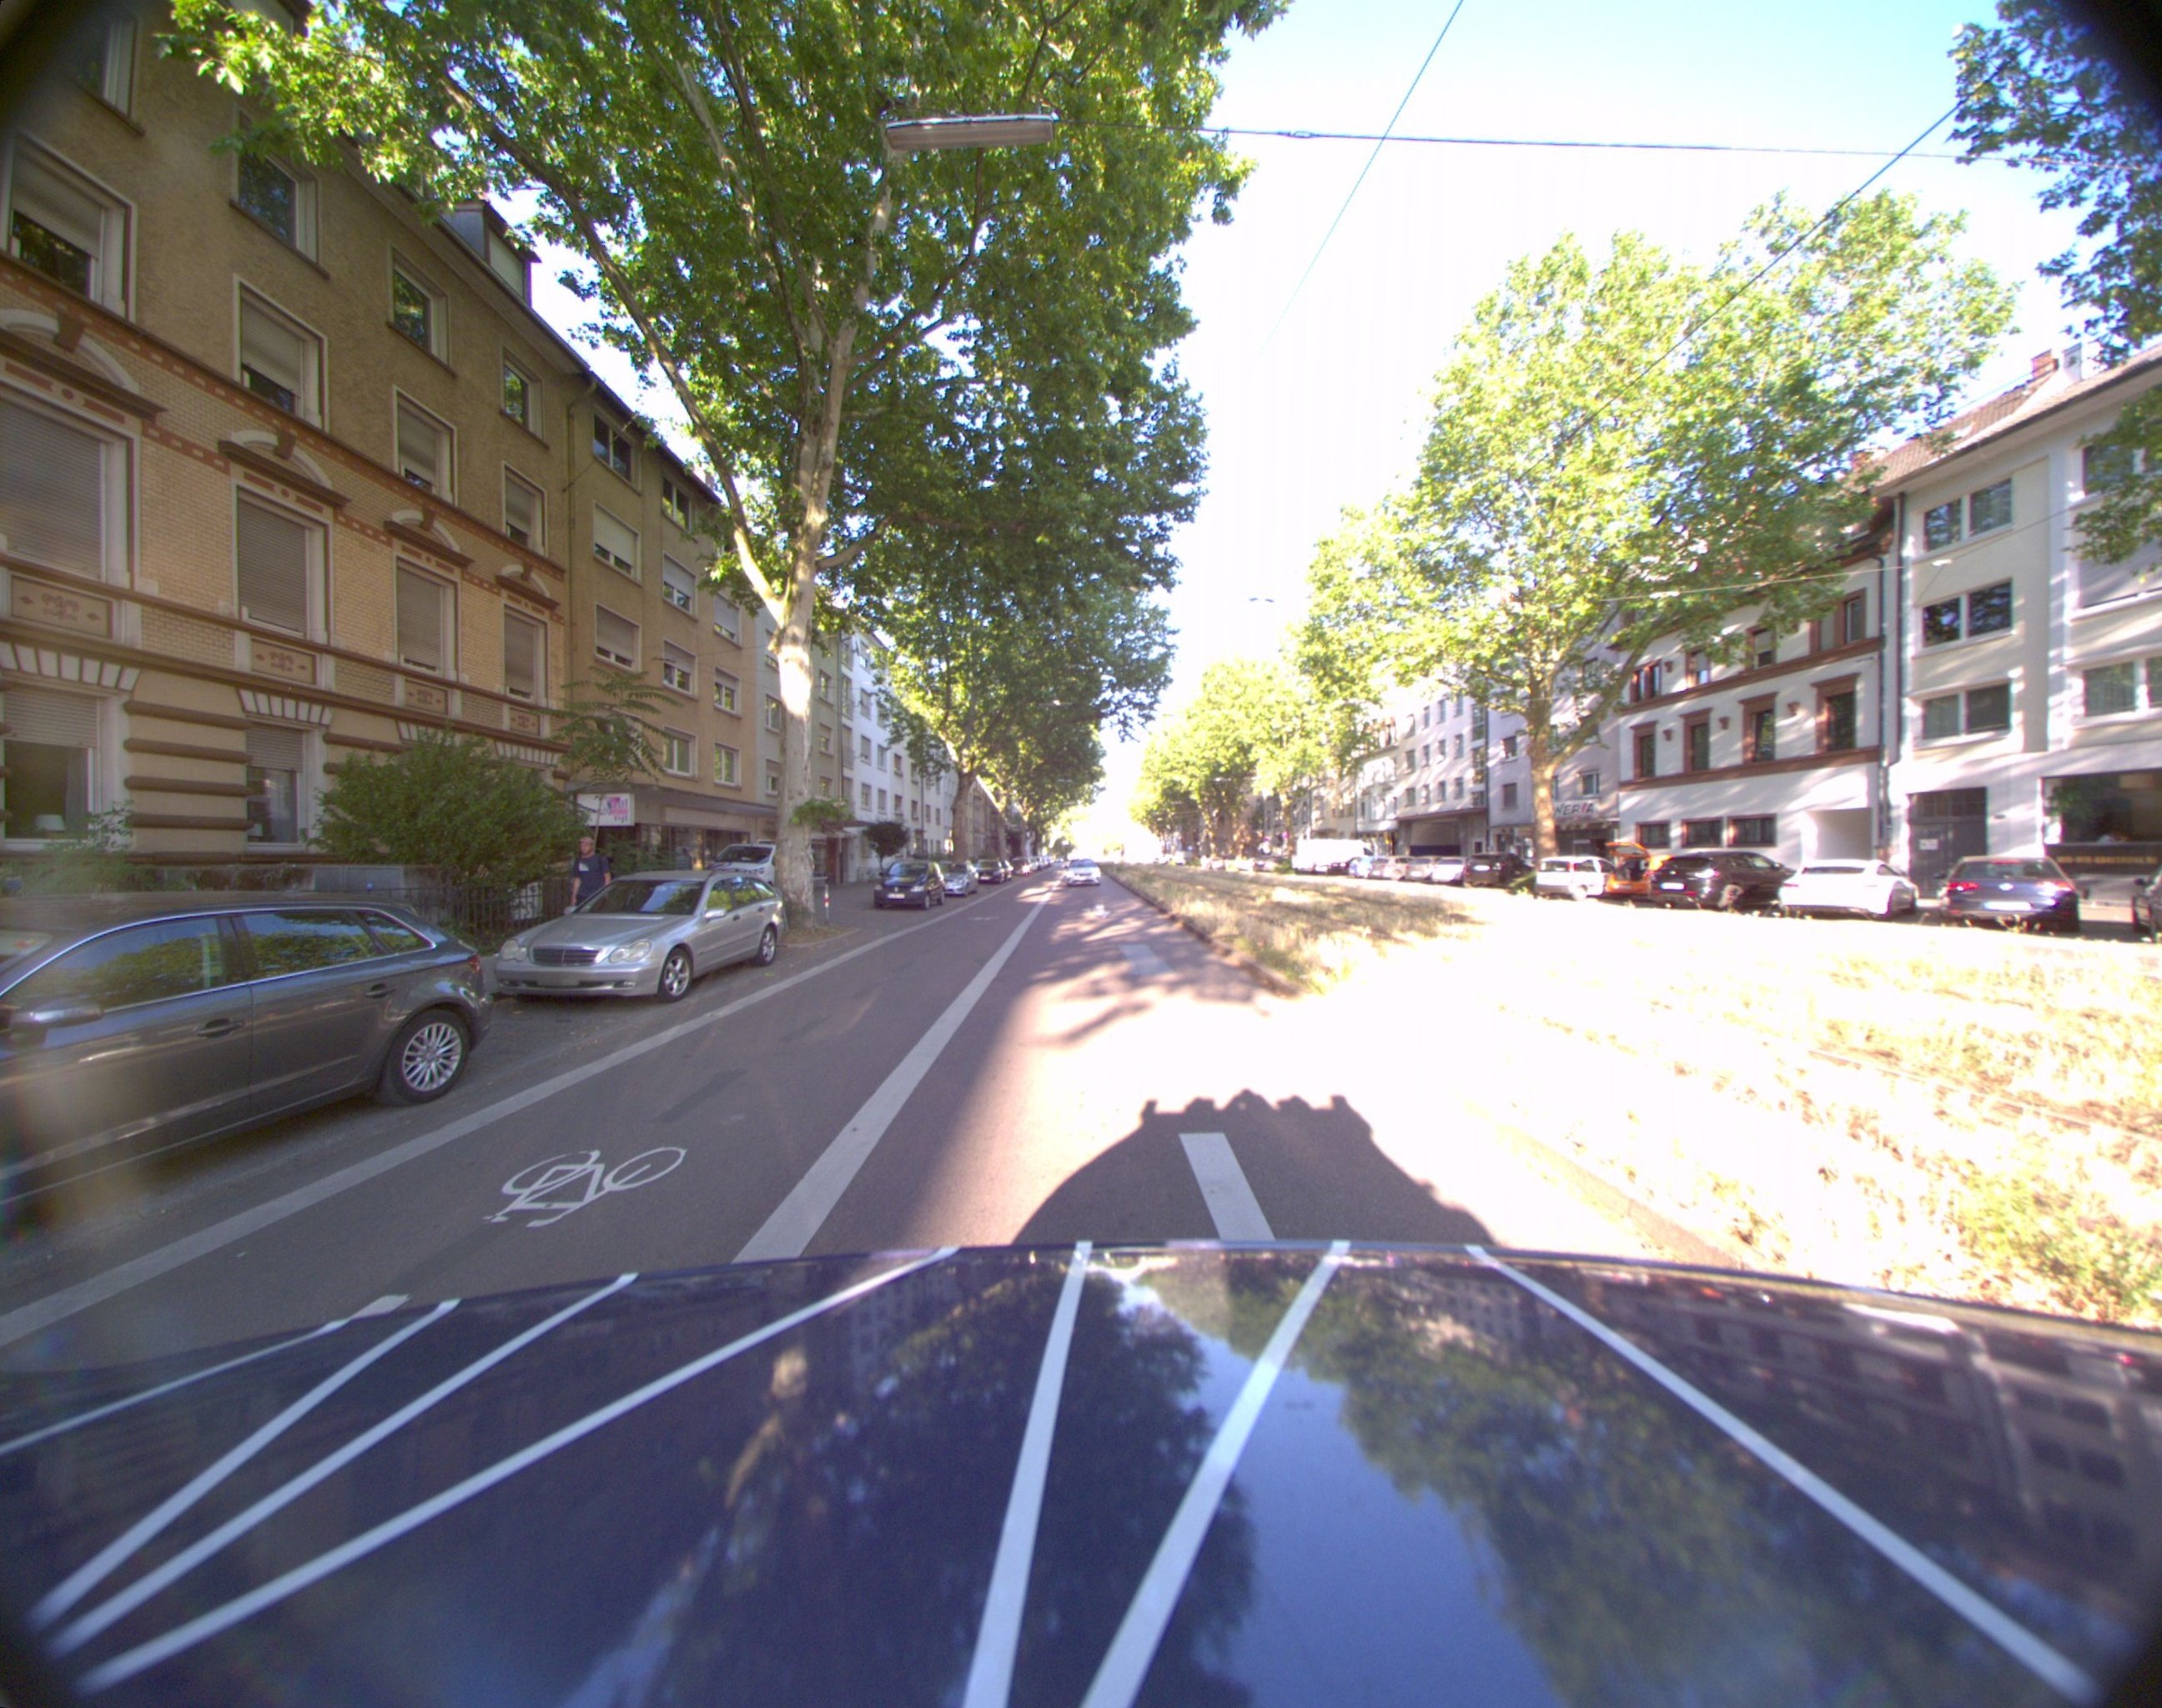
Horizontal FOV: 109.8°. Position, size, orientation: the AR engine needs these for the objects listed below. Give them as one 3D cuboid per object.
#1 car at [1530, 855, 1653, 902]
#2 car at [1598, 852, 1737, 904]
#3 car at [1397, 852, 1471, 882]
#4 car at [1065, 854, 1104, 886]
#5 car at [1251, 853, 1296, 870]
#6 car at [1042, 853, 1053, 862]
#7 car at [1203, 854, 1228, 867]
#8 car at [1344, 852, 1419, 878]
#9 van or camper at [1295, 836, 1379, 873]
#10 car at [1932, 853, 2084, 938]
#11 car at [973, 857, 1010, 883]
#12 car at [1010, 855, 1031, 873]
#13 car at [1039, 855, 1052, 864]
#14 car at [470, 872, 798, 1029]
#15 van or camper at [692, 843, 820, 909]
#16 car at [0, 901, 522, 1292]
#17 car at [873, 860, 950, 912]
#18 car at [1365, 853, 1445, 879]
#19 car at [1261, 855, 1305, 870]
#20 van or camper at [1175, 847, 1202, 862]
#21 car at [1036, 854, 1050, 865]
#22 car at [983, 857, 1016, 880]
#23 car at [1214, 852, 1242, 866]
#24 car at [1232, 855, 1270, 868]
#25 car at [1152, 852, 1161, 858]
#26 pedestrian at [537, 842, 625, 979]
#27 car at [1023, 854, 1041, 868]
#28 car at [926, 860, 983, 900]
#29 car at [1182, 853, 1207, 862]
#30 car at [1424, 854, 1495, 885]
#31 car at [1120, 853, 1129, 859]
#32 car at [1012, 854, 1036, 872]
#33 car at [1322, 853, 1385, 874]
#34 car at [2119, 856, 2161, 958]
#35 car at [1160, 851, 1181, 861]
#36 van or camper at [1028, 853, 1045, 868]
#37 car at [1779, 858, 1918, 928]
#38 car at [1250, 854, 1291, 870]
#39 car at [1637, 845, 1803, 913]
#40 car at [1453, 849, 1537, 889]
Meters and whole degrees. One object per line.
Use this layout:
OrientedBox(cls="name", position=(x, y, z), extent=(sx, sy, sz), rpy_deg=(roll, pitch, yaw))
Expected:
OrientedBox(cls="car", position=(18.039, 0.824, 26.819), extent=(4.369, 1.440, 1.655), rpy_deg=(-2, 1, -26))
OrientedBox(cls="car", position=(19.499, 0.746, 25.268), extent=(4.003, 1.471, 1.774), rpy_deg=(-3, 1, -20))
OrientedBox(cls="car", position=(19.064, 0.682, 40.956), extent=(4.006, 1.414, 1.752), rpy_deg=(-3, 1, -34))
OrientedBox(cls="car", position=(0.188, 0.799, 40.045), extent=(1.893, 1.501, 4.000), rpy_deg=(-2, 1, 1))
OrientedBox(cls="car", position=(18.648, 0.735, 73.553), extent=(4.169, 1.583, 1.932), rpy_deg=(2, -1, -36))
OrientedBox(cls="car", position=(-5.590, 0.588, 127.094), extent=(1.791, 1.585, 4.013), rpy_deg=(1, 0, -2))
OrientedBox(cls="car", position=(15.044, 0.733, 85.201), extent=(1.825, 1.382, 4.483), rpy_deg=(2, 0, -1))
OrientedBox(cls="car", position=(18.962, 0.676, 48.064), extent=(3.998, 1.412, 1.857), rpy_deg=(-3, 1, -4))
OrientedBox(cls="van or camper", position=(19.396, 0.018, 57.611), extent=(5.974, 2.631, 2.175), rpy_deg=(-1, 0, -20))
OrientedBox(cls="car", position=(19.362, 0.784, 16.031), extent=(4.007, 1.433, 1.797), rpy_deg=(-3, 1, -43))
OrientedBox(cls="car", position=(-5.316, 0.922, 45.681), extent=(1.713, 1.407, 4.363), rpy_deg=(2, 0, 0))
OrientedBox(cls="car", position=(-5.279, 0.864, 66.492), extent=(1.748, 1.455, 4.024), rpy_deg=(0, 0, -5))
OrientedBox(cls="car", position=(-5.605, 0.842, 119.805), extent=(1.790, 1.458, 3.569), rpy_deg=(1, 0, 0))
OrientedBox(cls="car", position=(-5.343, 1.022, 9.932), extent=(1.678, 1.443, 4.570), rpy_deg=(0, 0, -2))
OrientedBox(cls="van or camper", position=(-10.436, 0.641, 24.961), extent=(1.947, 1.911, 5.390), rpy_deg=(0, 0, -1))
OrientedBox(cls="car", position=(-5.182, 1.064, 3.665), extent=(1.714, 1.388, 4.321), rpy_deg=(0, 0, 1))
OrientedBox(cls="car", position=(-5.427, 0.970, 24.726), extent=(1.658, 1.536, 3.999), rpy_deg=(0, 0, -1))
OrientedBox(cls="car", position=(19.173, 0.709, 45.086), extent=(4.002, 1.483, 1.948), rpy_deg=(0, 0, -13))
OrientedBox(cls="car", position=(18.701, 0.831, 70.266), extent=(4.014, 1.349, 1.797), rpy_deg=(1, 0, -37))
OrientedBox(cls="van or camper", position=(18.368, 0.046, 129.725), extent=(4.371, 2.386, 2.196), rpy_deg=(-4, 2, -40))
OrientedBox(cls="car", position=(-5.481, 0.794, 109.732), extent=(1.790, 1.609, 3.829), rpy_deg=(1, 0, 0))
OrientedBox(cls="car", position=(-5.401, 0.931, 50.572), extent=(1.713, 1.407, 4.363), rpy_deg=(2, 0, 0))
OrientedBox(cls="car", position=(18.836, 0.653, 97.412), extent=(1.726, 1.643, 4.009), rpy_deg=(-1, -1, 40))
OrientedBox(cls="car", position=(18.213, 0.800, 81.437), extent=(3.687, 1.382, 1.822), rpy_deg=(-1, 0, -31))
OrientedBox(cls="car", position=(20.199, 0.356, 202.882), extent=(1.998, 1.412, 4.000), rpy_deg=(-2, 1, 2))
OrientedBox(cls="pedestrian", position=(-7.609, 0.820, 11.613), extent=(0.684, 2.002, 1.011), rpy_deg=(0, 1, -4))
OrientedBox(cls="car", position=(-5.542, 0.799, 86.410), extent=(1.702, 1.517, 4.194), rpy_deg=(0, 0, 0))
OrientedBox(cls="car", position=(-5.310, 1.056, 32.482), extent=(1.699, 1.533, 4.776), rpy_deg=(0, 0, -1))
OrientedBox(cls="car", position=(18.981, 0.610, 127.202), extent=(4.006, 1.240, 1.726), rpy_deg=(-4, 1, -34))
OrientedBox(cls="car", position=(18.906, 0.758, 37.869), extent=(4.008, 1.377, 1.907), rpy_deg=(-2, 0, -45))
OrientedBox(cls="car", position=(11.731, 0.569, 205.580), extent=(1.997, 1.477, 4.002), rpy_deg=(-2, 1, 8))
OrientedBox(cls="car", position=(-5.480, 0.815, 73.268), extent=(1.999, 1.557, 4.663), rpy_deg=(2, 1, 0))
OrientedBox(cls="car", position=(19.707, 0.662, 54.949), extent=(4.004, 1.482, 1.996), rpy_deg=(0, 0, -22))
OrientedBox(cls="car", position=(19.056, 0.826, 12.690), extent=(4.007, 1.433, 1.717), rpy_deg=(-3, 1, -41))
OrientedBox(cls="car", position=(18.323, 0.404, 154.814), extent=(4.007, 2.002, 1.995), rpy_deg=(-3, 1, -42))
OrientedBox(cls="van or camper", position=(-5.407, 0.772, 92.709), extent=(1.790, 1.710, 4.379), rpy_deg=(1, 0, 1))
OrientedBox(cls="car", position=(18.651, 0.868, 18.408), extent=(4.212, 1.325, 1.718), rpy_deg=(-3, 1, -36))
OrientedBox(cls="car", position=(19.222, 0.822, 76.933), extent=(4.008, 1.524, 1.821), rpy_deg=(1, -1, -36))
OrientedBox(cls="car", position=(18.298, 0.698, 21.757), extent=(4.370, 1.776, 1.989), rpy_deg=(1, 1, -26))
OrientedBox(cls="car", position=(18.686, 0.634, 34.238), extent=(4.008, 1.651, 1.995), rpy_deg=(-1, 0, -41))
